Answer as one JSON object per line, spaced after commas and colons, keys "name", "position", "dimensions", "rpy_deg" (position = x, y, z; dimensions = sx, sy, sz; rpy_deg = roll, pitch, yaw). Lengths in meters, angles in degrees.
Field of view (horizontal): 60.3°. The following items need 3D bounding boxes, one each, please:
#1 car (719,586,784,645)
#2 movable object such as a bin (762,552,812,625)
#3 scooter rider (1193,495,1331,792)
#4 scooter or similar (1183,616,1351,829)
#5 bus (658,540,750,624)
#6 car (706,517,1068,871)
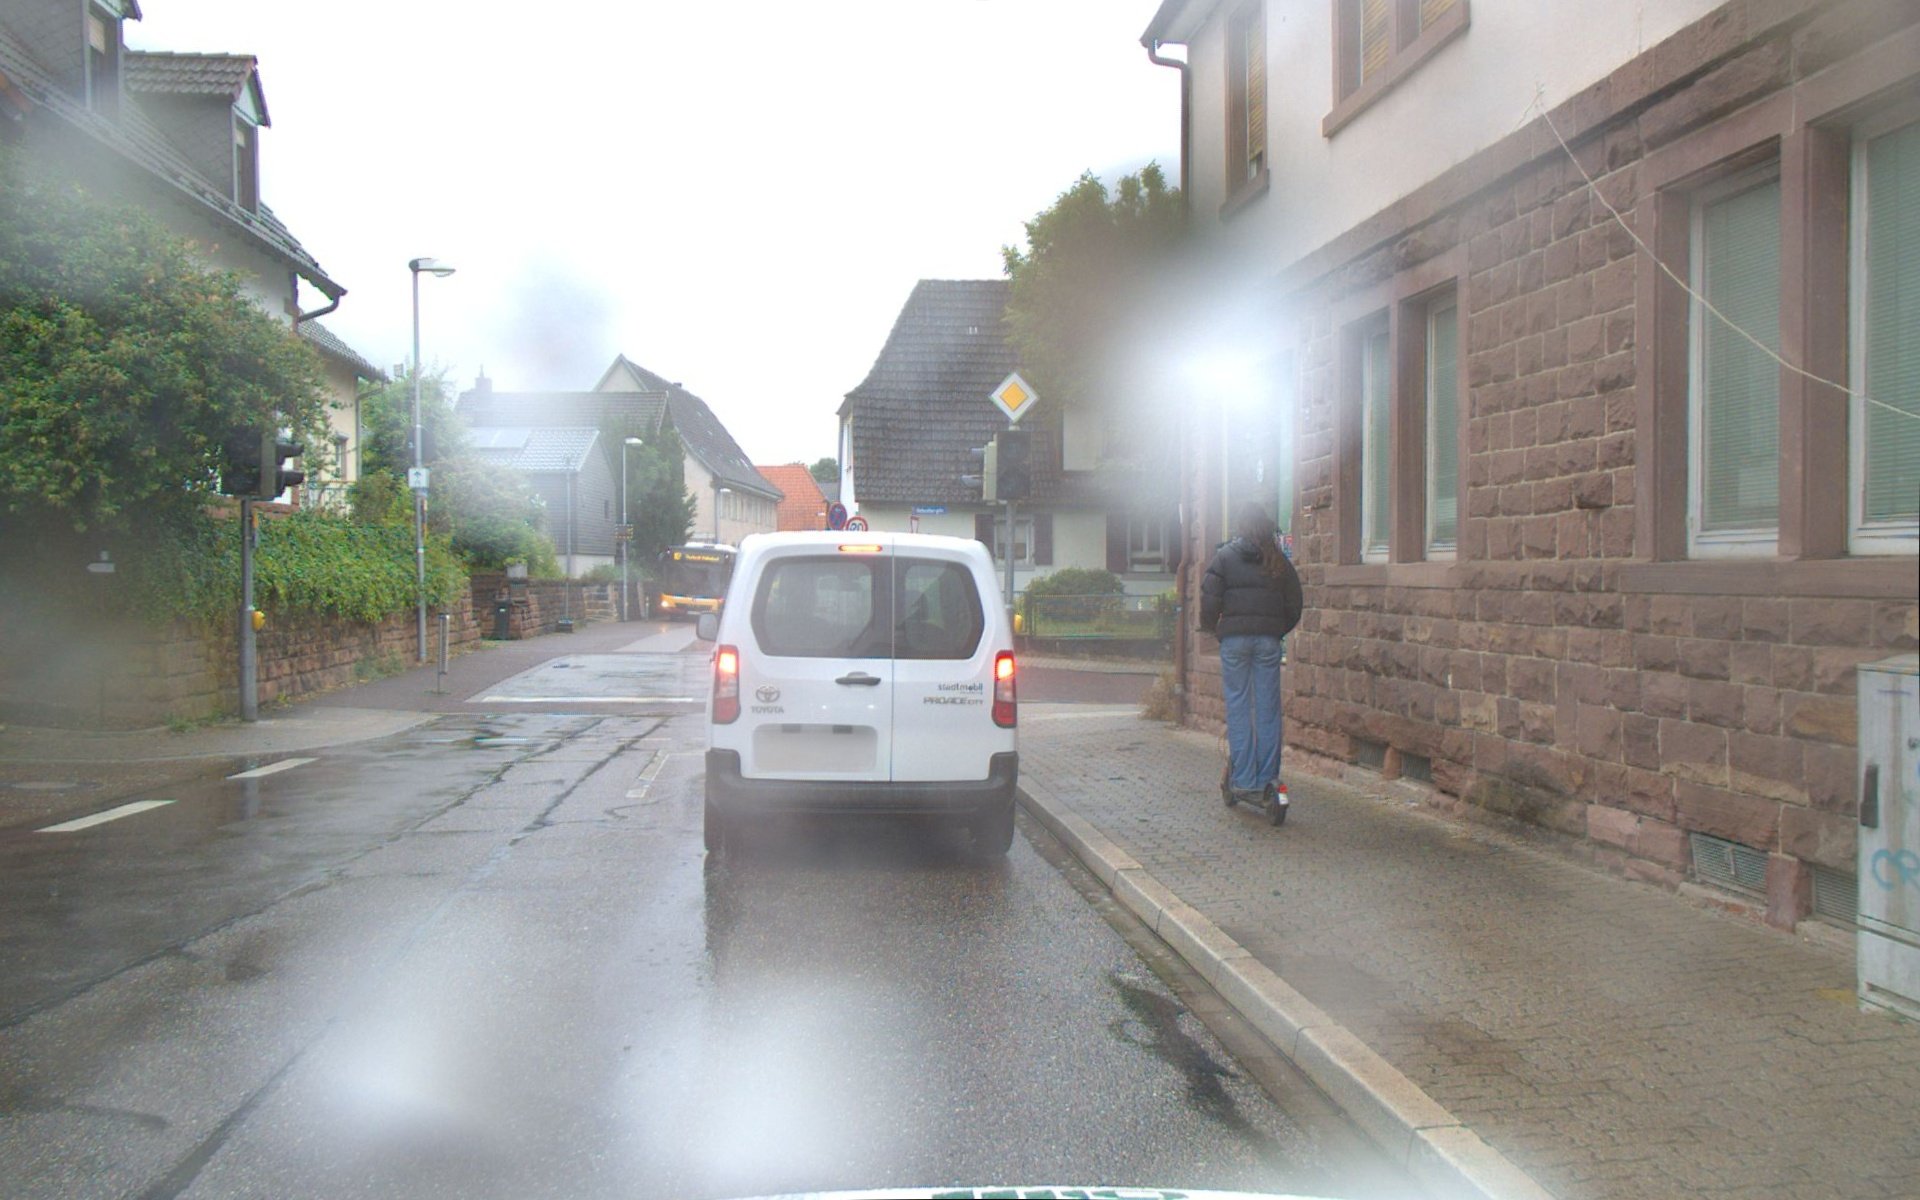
{"name": "car", "position": [-6.121, 0.419, 48.833], "dimensions": [1.774, 1.624, 3.751], "rpy_deg": [1, 1, -6]}
{"name": "movable object such as a bin", "position": [-6.658, -0.457, 63.847], "dimensions": [1.692, 2.699, 3.971], "rpy_deg": [1, 0, -3]}
{"name": "scooter rider", "position": [1.838, 0.259, 10.113], "dimensions": [0.717, 1.763, 0.517], "rpy_deg": [0, 0, -7]}
{"name": "scooter or similar", "position": [1.814, 0.690, 9.955], "dimensions": [0.608, 1.146, 1.400], "rpy_deg": [0, 1, -6]}
{"name": "bus", "position": [-10.204, -0.866, 67.113], "dimensions": [2.597, 3.051, 12.185], "rpy_deg": [1, 2, -4]}
{"name": "car", "position": [-0.576, 0.478, 10.534], "dimensions": [1.858, 1.825, 3.808], "rpy_deg": [1, 1, -6]}
